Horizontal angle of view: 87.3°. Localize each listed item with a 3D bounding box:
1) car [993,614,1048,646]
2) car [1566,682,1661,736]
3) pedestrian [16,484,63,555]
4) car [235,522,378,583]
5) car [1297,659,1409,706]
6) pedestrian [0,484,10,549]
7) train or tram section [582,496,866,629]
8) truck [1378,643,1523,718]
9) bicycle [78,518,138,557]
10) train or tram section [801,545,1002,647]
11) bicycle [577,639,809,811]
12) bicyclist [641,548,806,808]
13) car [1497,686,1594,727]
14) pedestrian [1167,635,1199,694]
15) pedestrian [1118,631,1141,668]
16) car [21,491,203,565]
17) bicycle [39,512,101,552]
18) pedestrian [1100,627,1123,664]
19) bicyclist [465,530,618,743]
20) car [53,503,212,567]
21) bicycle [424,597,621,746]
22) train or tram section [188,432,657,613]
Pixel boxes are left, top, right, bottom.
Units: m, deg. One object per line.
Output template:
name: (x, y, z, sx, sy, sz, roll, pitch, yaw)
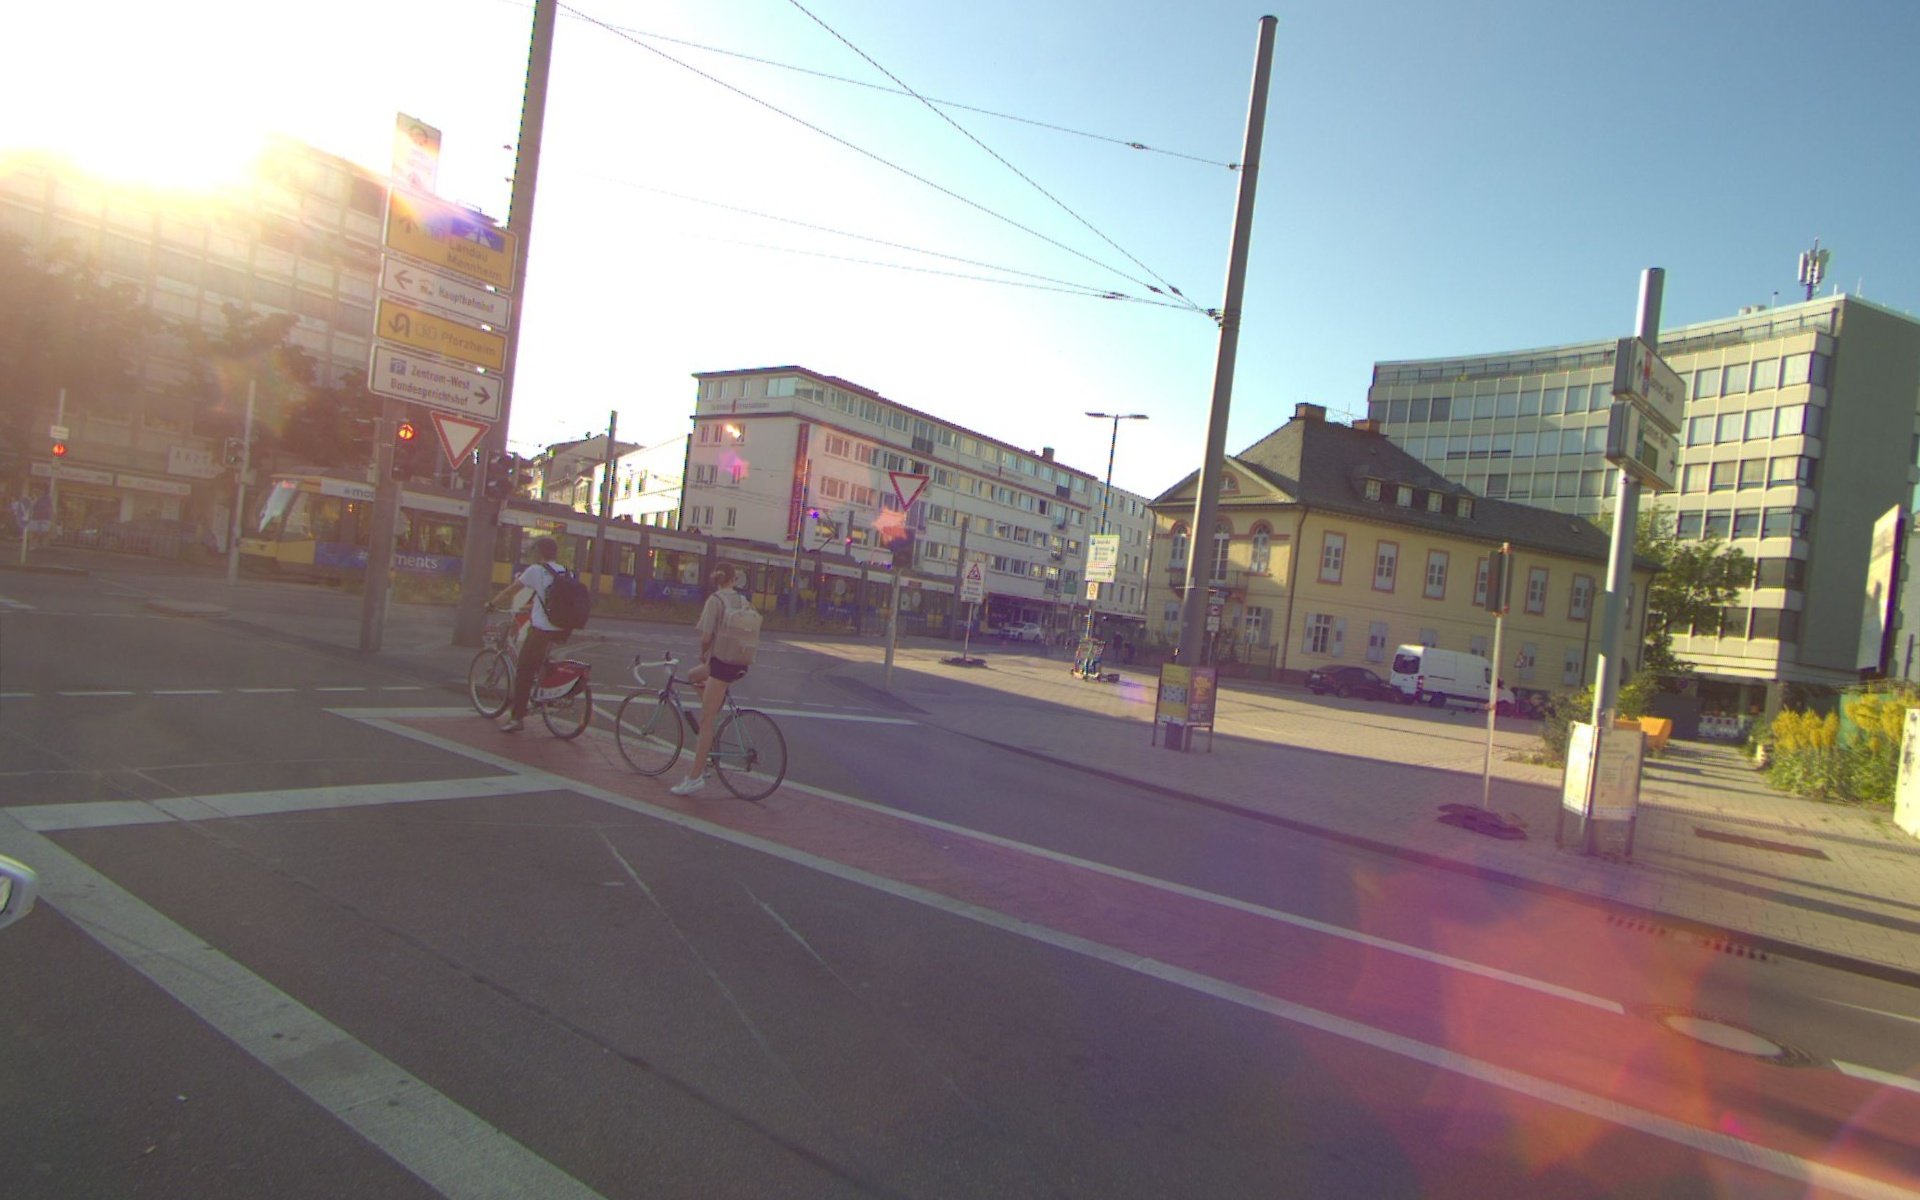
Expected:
car: (5.041, 2.509, 83.389, 1.970, 2.036, 4.858, 6, -2, 38)
car: (31.151, 5.205, 47.976, 3.706, 2.003, 1.709, 8, -2, -17)
pedestrian: (-25.070, -2.200, 27.400, 1.028, 1.814, 0.694, 6, -1, 42)
car: (-24.468, -1.741, 37.768, 1.816, 1.636, 3.990, 6, -2, 36)
car: (16.622, 3.484, 42.591, 4.133, 1.380, 1.709, 8, -2, -17)
pedestrian: (-26.180, -2.296, 27.032, 1.027, 1.702, 0.695, 6, -1, 41)
train or tram section: (-9.713, -1.361, 44.103, 3.655, 3.877, 12.960, 6, -2, 33)
truck: (21.832, 3.577, 44.805, 5.556, 2.578, 2.294, 8, -2, -17)
bicycle: (-33.918, -2.504, 40.029, 2.594, 1.157, 0.751, 9, 0, 26)
train or tram section: (-2.754, -0.002, 54.955, 3.656, 3.877, 12.957, 6, -2, 33)
bicycle: (-2.046, 0.915, 7.647, 1.664, 1.013, 0.543, 6, -1, 27)
bicyclist: (-1.749, 0.563, 7.483, 0.778, 1.766, 0.615, 7, -1, 27)
car: (27.094, 4.927, 46.588, 3.706, 1.380, 1.709, 8, -2, -17)
pedestrian: (7.183, 2.062, 32.373, 0.746, 1.783, 1.009, 7, -1, 16)
pedestrian: (8.086, 2.349, 47.938, 0.802, 1.661, 0.687, 7, -1, 16)
car: (-26.874, -2.257, 31.991, 1.816, 1.636, 3.990, 6, -2, 36)
bicycle: (-34.497, -2.631, 38.985, 2.594, 1.157, 0.751, 9, 0, 26)
pedestrian: (7.224, 2.193, 47.997, 0.802, 1.661, 0.687, 7, -1, 15)
bicyclist: (-3.817, 0.321, 9.175, 1.042, 1.789, 0.543, 7, -1, 27)
car: (-30.309, -2.347, 36.948, 1.816, 1.636, 4.071, 6, -2, 36)
bicycle: (-4.039, 0.635, 9.250, 1.777, 1.113, 0.543, 6, -1, 27)
train or tram section: (-16.470, -2.101, 32.922, 3.653, 3.880, 13.336, 6, -1, 31)
